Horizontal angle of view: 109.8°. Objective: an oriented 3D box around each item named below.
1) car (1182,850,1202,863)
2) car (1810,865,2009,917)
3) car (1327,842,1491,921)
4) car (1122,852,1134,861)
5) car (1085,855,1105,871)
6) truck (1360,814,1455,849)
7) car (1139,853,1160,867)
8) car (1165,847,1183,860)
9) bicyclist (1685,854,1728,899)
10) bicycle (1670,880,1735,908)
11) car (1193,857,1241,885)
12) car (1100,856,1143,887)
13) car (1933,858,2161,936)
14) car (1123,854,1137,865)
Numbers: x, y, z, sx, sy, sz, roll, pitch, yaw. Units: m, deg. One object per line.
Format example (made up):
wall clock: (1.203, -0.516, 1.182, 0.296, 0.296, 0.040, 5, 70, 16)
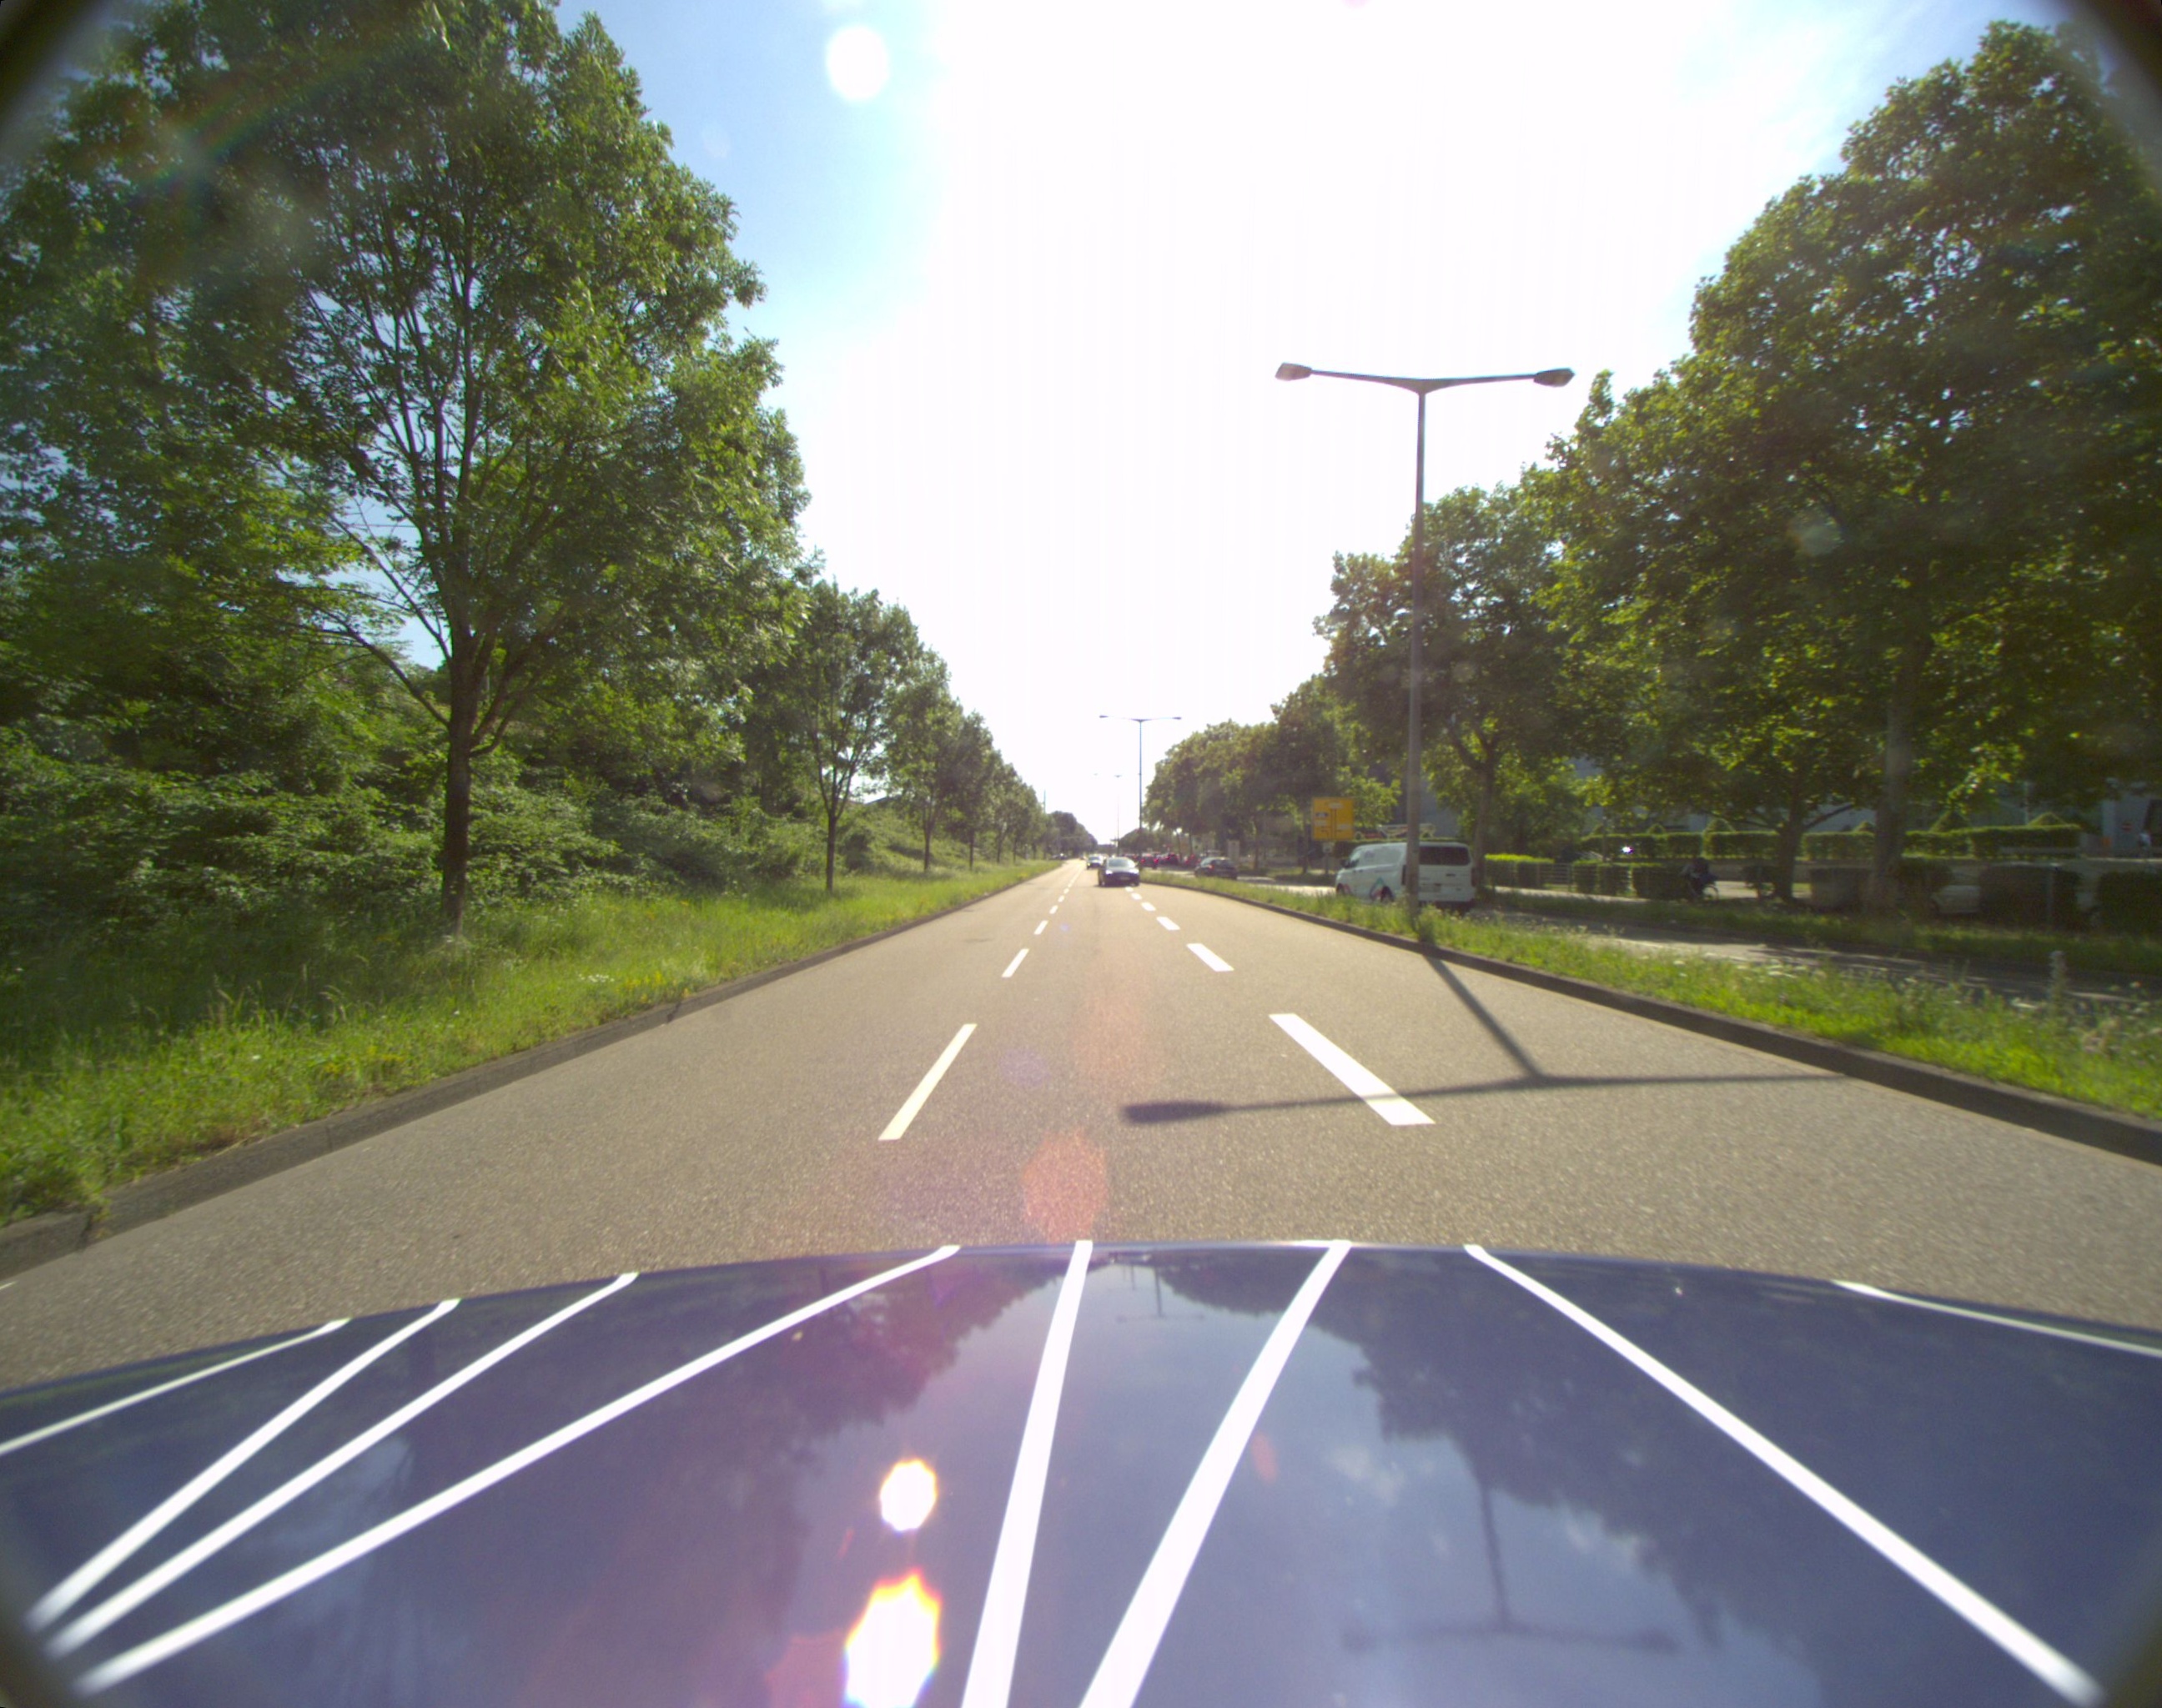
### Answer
car: (12.933, 0.305, 88.718, 1.768, 1.454, 4.000, 1, 0, 1)
car: (24.893, 1.079, 22.944, 3.996, 1.456, 1.772, 0, 0, 1)
car: (8.769, 0.662, 20.984, 2.122, 1.872, 5.419, 0, 0, -1)
car: (7.886, 0.432, 127.937, 1.812, 1.606, 4.491, 0, 0, -1)
car: (1.438, 0.932, 80.545, 1.998, 1.699, 4.431, 0, 0, 0)
truck: (33.889, -2.245, 79.227, 2.678, 3.376, 8.965, -1, 0, -36)
car: (7.063, 0.592, 79.110, 1.844, 1.470, 4.166, 0, 0, 1)
car: (13.606, -0.086, 111.158, 1.998, 1.824, 4.651, 1, 0, 0)
bicyclist: (21.410, 0.757, 26.021, 0.683, 1.476, 0.942, 0, 1, 1)
bicycle: (21.410, 1.358, 26.232, 0.691, 0.861, 1.926, 0, 0, 1)
car: (7.667, 0.934, 43.084, 1.773, 1.460, 4.282, 0, 0, -2)
car: (2.046, 0.863, 39.457, 1.827, 1.498, 4.215, 0, 0, -3)
car: (25.415, 1.073, 19.731, 3.995, 1.812, 2.157, -1, 1, 4)
car: (6.878, 0.740, 106.778, 1.777, 1.459, 4.671, 1, 0, 1)
